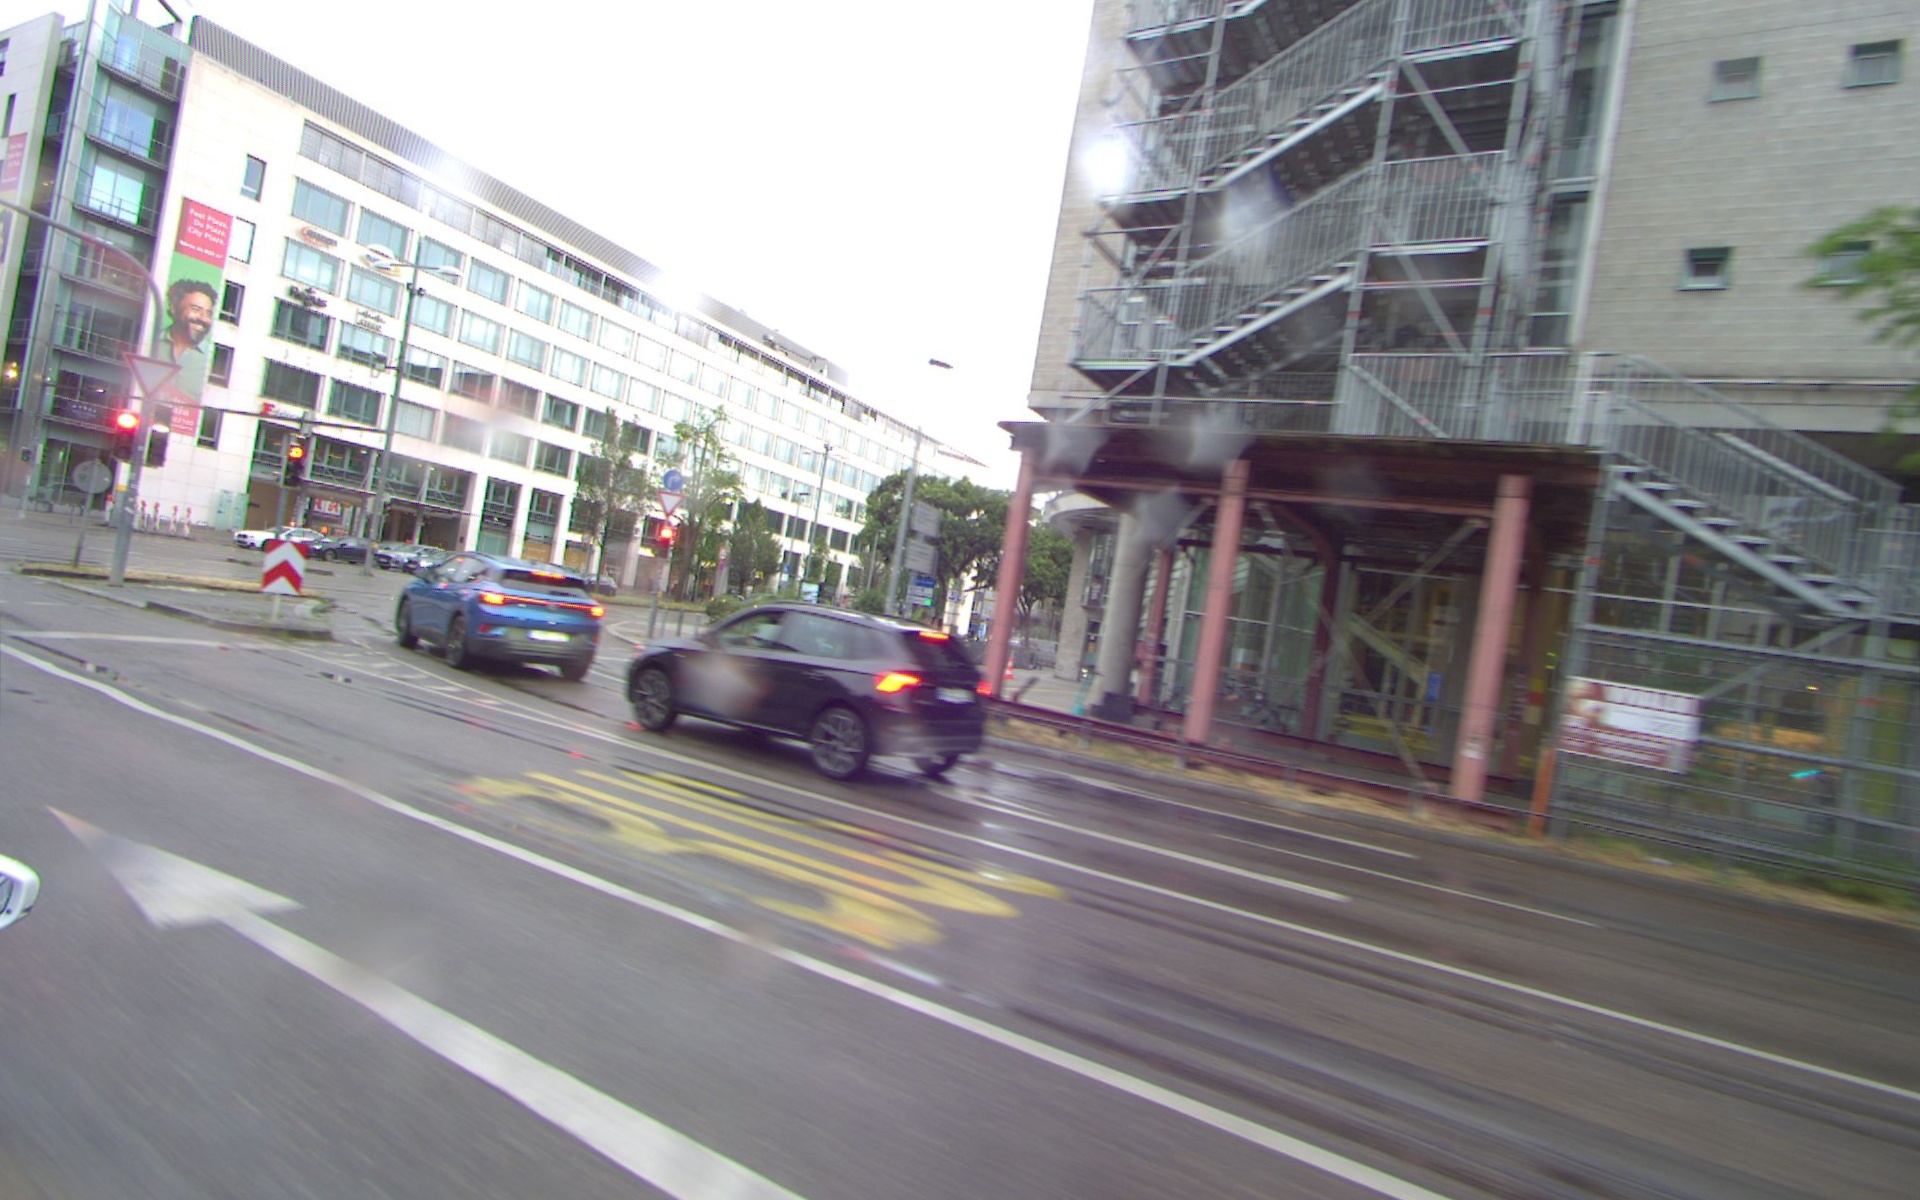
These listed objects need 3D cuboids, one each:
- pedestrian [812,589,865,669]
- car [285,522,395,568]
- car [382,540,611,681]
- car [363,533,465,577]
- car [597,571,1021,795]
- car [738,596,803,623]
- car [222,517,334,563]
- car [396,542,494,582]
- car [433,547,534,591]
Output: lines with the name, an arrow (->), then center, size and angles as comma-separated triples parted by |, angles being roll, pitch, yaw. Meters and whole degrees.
pedestrian -> -3.065, 0.721, 25.346 | 0.676, 1.874, 1.045 | 8, 0, -37
car -> -32.077, -2.825, 52.200 | 1.963, 1.616, 4.468 | 8, -2, 20
car -> -7.018, 0.086, 14.976 | 1.699, 1.547, 4.373 | 9, -2, -43
car -> -28.750, -2.334, 53.121 | 1.962, 1.616, 4.469 | 8, -2, 17
car -> -1.648, 0.763, 10.433 | 4.080, 1.558, 1.781 | 7, -1, 34
car -> -14.676, 0.750, 77.923 | 4.594, 1.364, 1.916 | 9, -1, -25
car -> -35.627, -3.088, 52.682 | 1.962, 1.616, 4.469 | 8, -2, 17
car -> -26.062, -1.880, 51.122 | 1.690, 1.364, 4.469 | 8, -2, 17
car -> -23.292, -1.477, 49.369 | 1.691, 1.481, 4.468 | 8, -2, 19
